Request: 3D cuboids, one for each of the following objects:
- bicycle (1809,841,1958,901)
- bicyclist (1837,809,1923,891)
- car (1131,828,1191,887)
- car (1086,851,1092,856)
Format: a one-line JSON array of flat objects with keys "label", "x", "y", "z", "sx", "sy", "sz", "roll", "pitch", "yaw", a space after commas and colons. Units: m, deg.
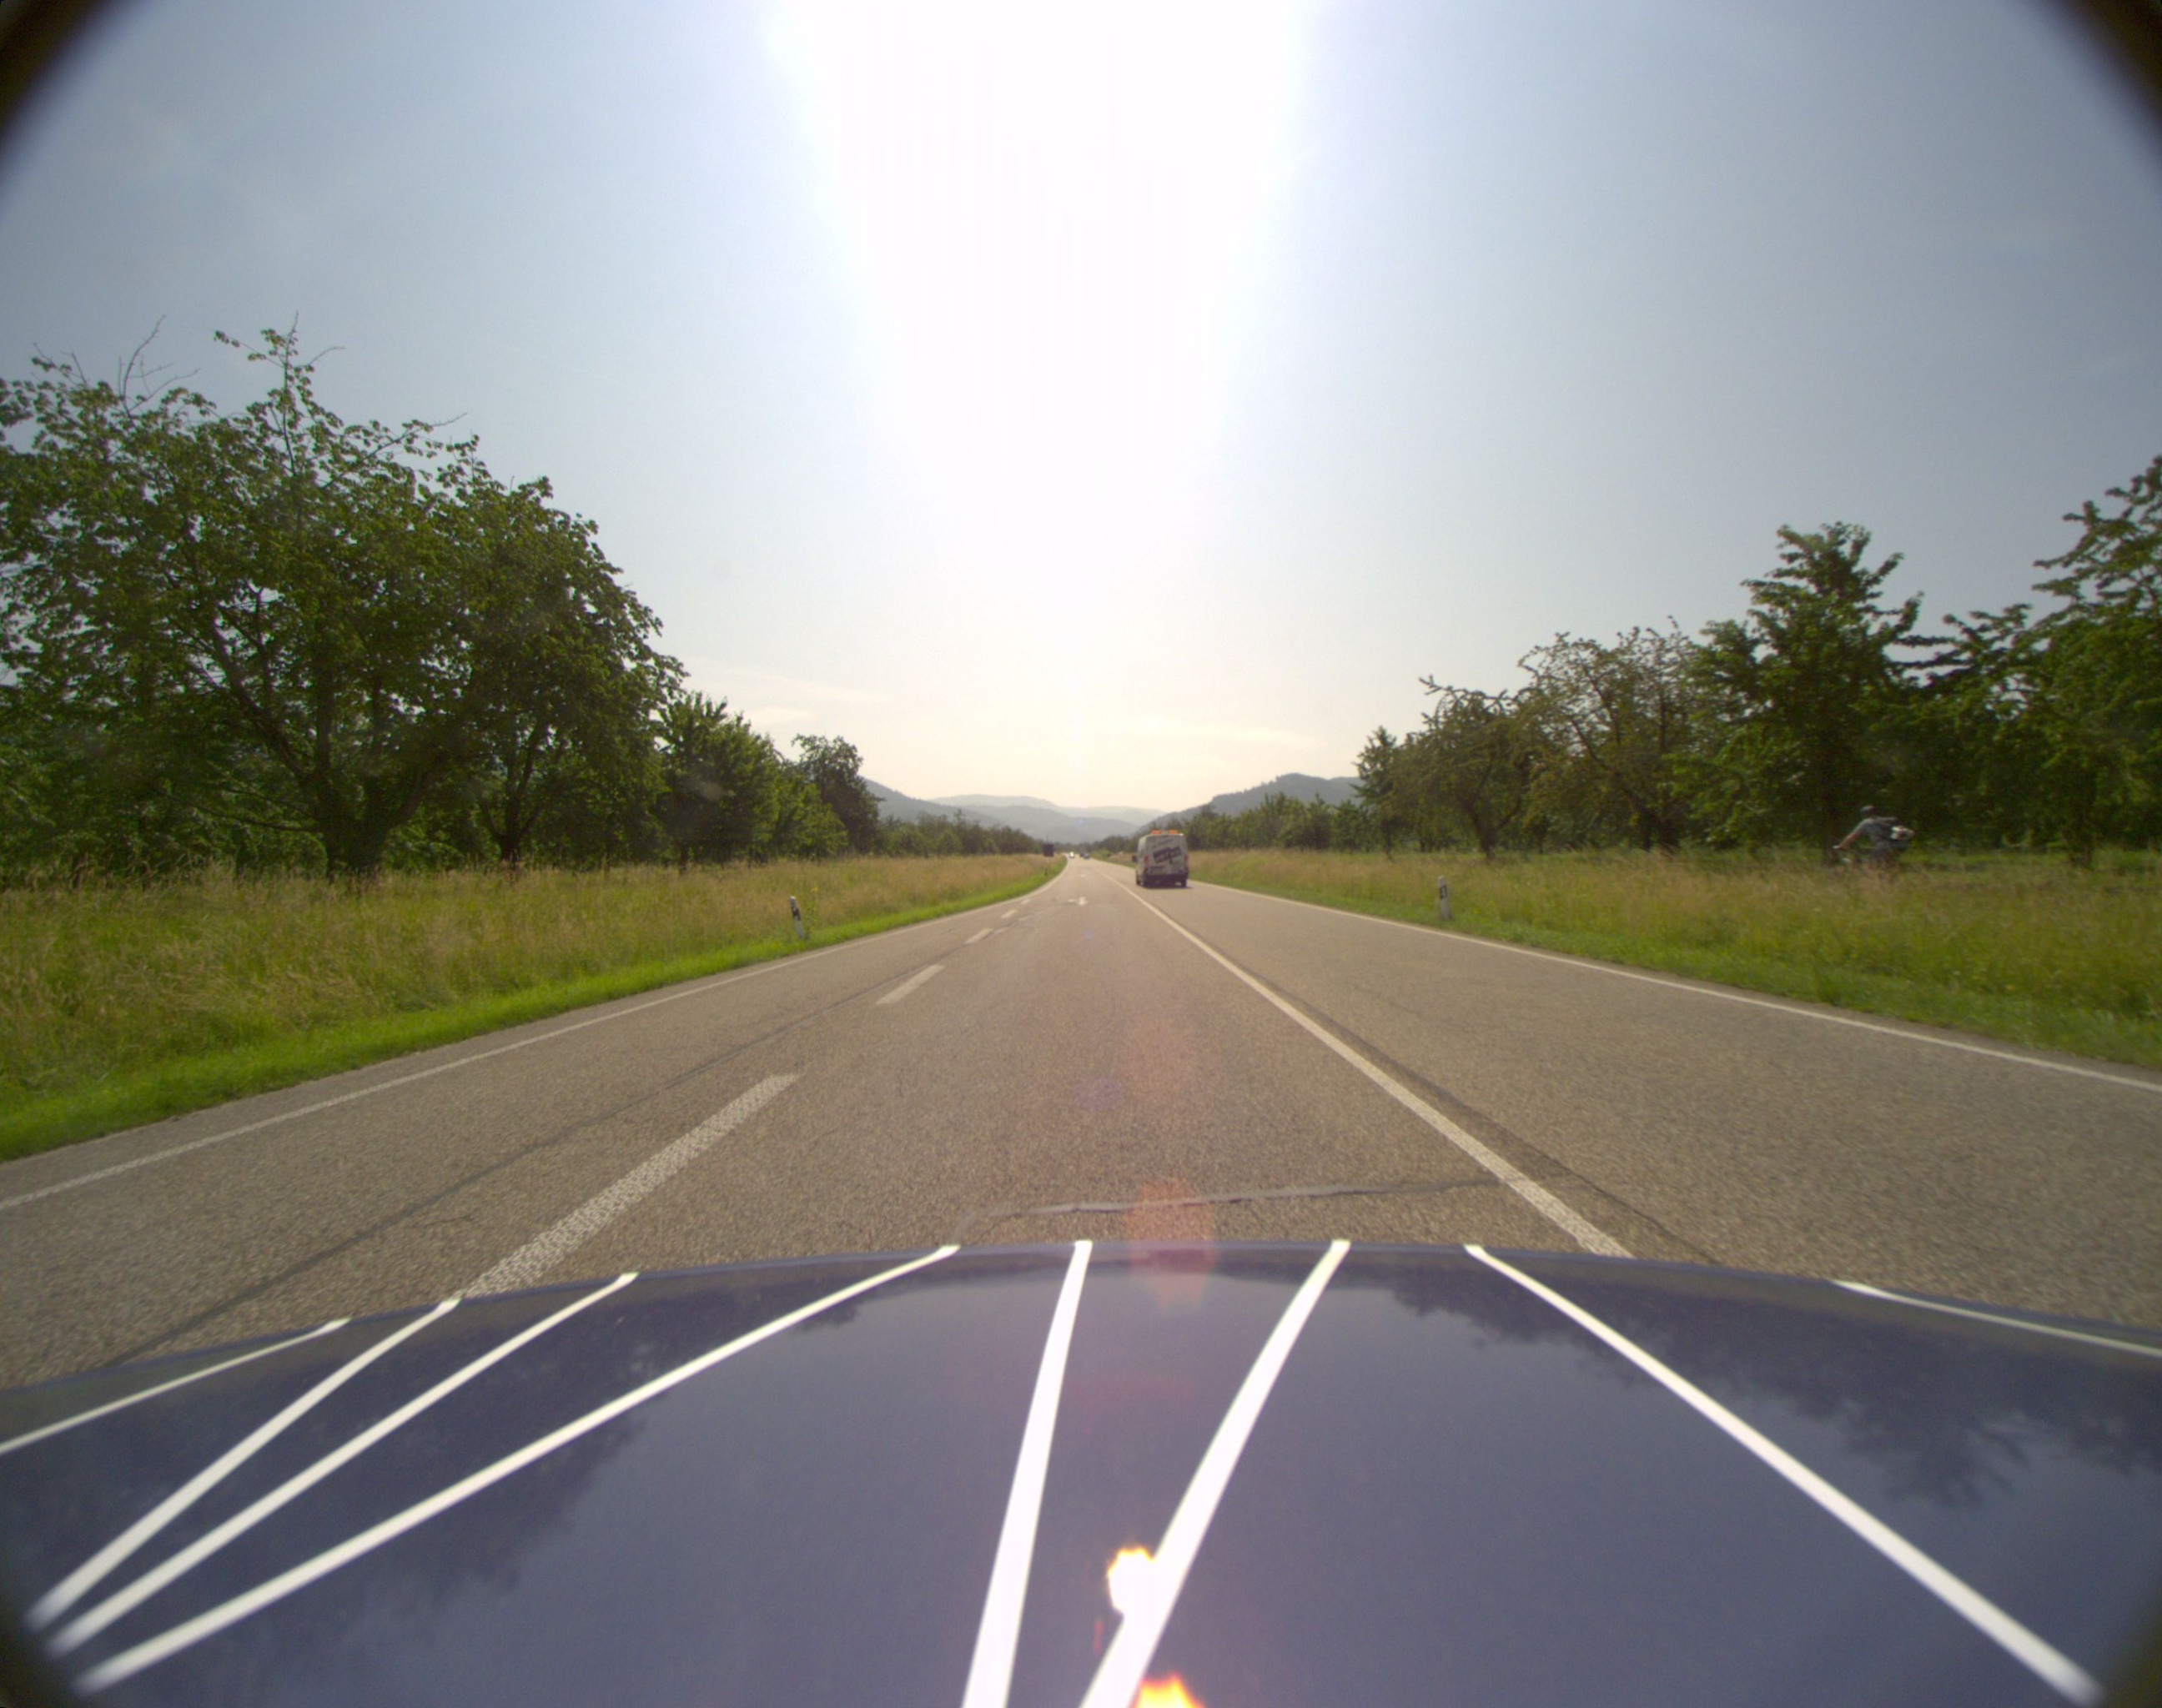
[{"label": "bicycle", "x": 14.370, "y": 0.265, "z": 13.692, "sx": 0.650, "sy": 0.984, "sz": 1.955, "roll": -2, "pitch": 1, "yaw": 1}, {"label": "bicyclist", "x": 14.357, "y": -0.075, "z": 13.676, "sx": 0.643, "sy": 1.406, "sz": 0.863, "roll": -2, "pitch": 2, "yaw": 1}, {"label": "car", "x": 3.858, "y": 0.127, "z": 37.749, "sx": 2.166, "sy": 2.653, "sz": 6.142, "roll": -2, "pitch": 1, "yaw": -1}, {"label": "car", "x": 2.374, "y": -0.094, "z": 238.432, "sx": 1.694, "sy": 1.400, "sz": 4.893, "roll": -2, "pitch": 0, "yaw": -1}]
